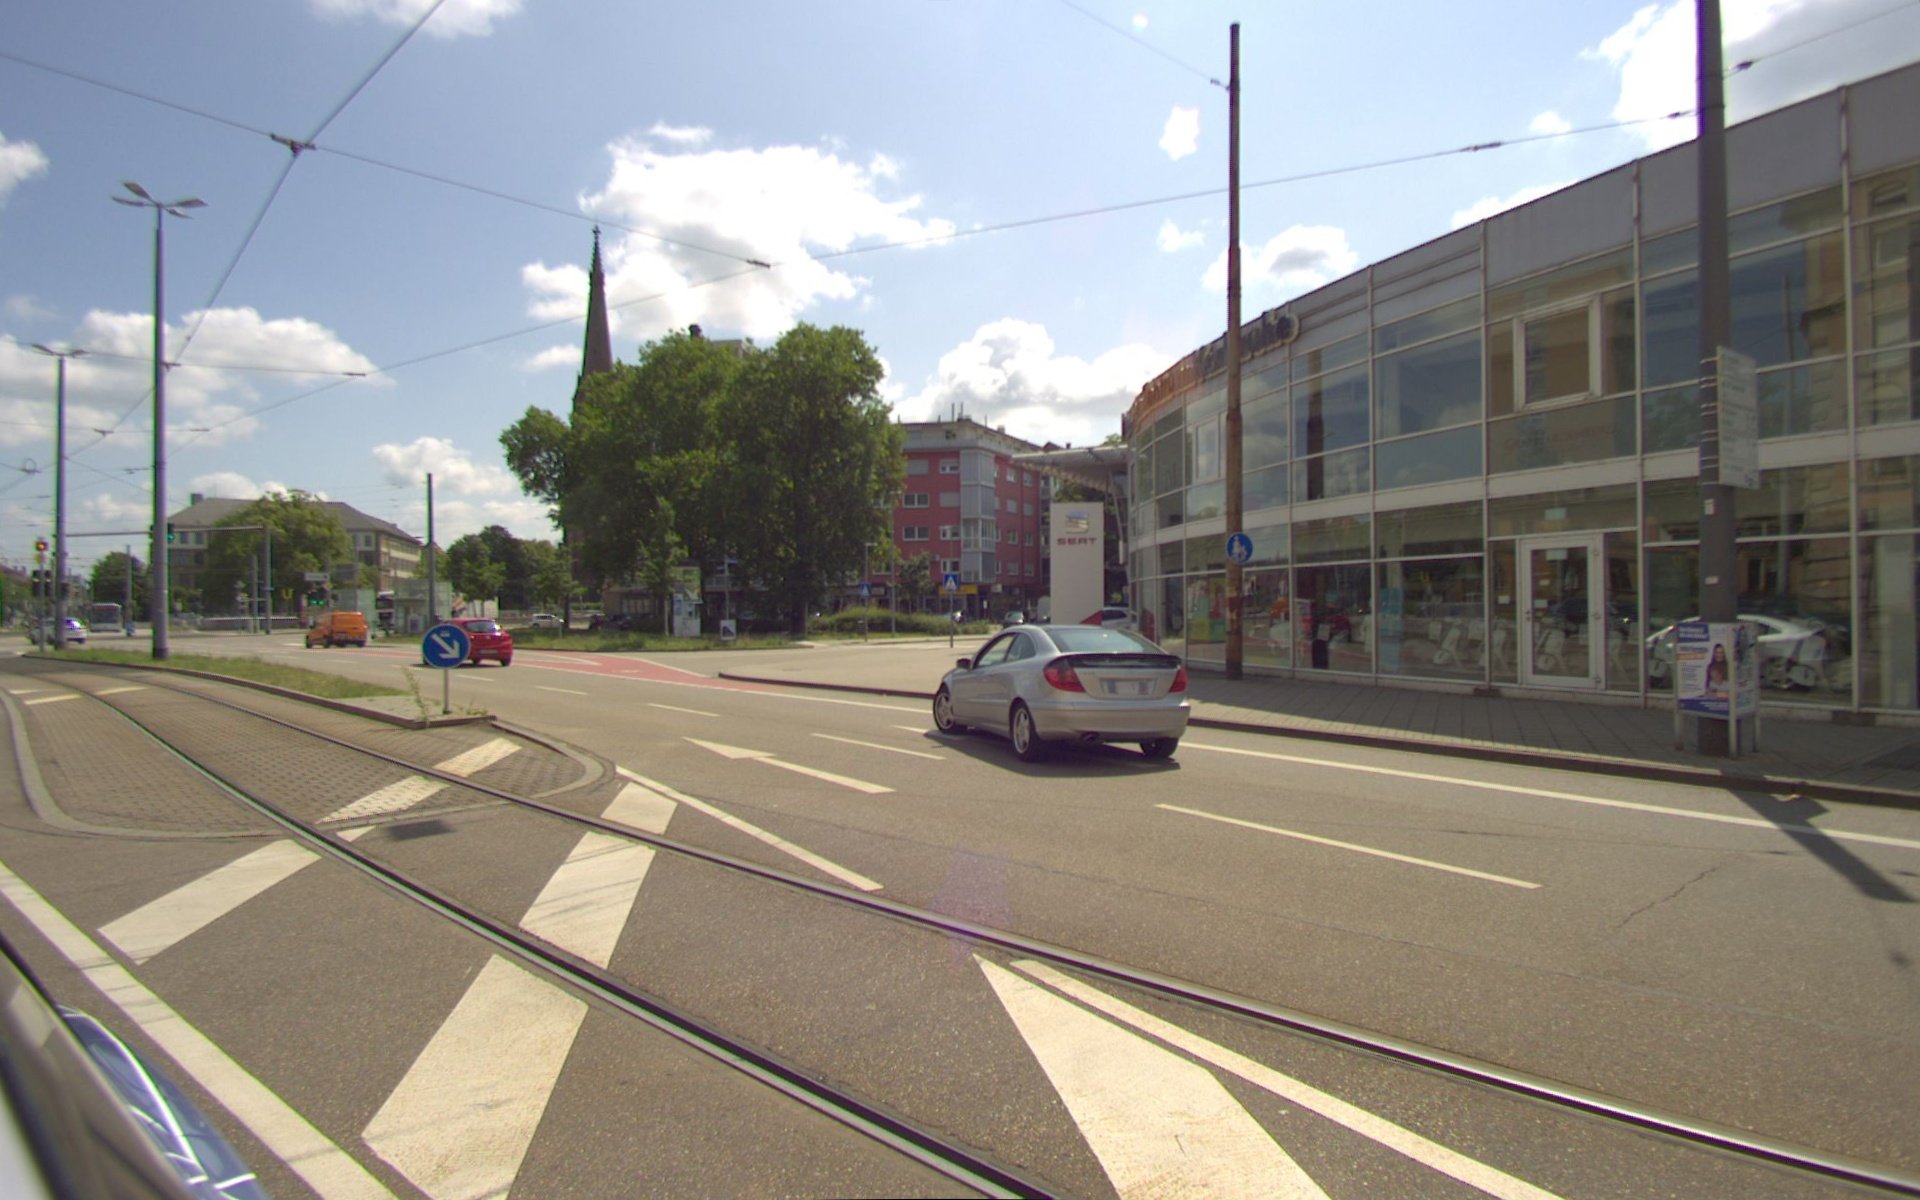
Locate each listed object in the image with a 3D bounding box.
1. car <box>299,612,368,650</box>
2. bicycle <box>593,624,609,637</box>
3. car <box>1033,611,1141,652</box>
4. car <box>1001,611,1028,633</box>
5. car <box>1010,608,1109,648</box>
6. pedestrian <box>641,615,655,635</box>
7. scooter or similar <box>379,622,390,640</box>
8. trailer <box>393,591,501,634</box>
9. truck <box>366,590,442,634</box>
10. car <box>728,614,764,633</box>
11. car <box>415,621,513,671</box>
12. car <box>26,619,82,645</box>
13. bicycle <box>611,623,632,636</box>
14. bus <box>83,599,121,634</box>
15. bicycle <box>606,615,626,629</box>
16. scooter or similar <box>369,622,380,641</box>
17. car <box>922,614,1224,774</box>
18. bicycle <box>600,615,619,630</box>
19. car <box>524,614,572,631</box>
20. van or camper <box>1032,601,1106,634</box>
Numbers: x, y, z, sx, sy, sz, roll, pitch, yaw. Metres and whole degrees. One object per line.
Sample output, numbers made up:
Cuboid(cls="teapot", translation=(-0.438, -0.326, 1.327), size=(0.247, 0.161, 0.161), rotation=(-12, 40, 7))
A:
Cuboid(cls="car", translation=(-32.169, 1.578, 51.951), size=(4.366, 1.880, 1.890), rotation=(-2, -2, 42))
Cuboid(cls="bicycle", translation=(-33.185, 2.798, 93.529), size=(1.257, 1.154, 0.458), rotation=(-1, -1, 5))
Cuboid(cls="car", translation=(4.756, 1.178, 38.250), size=(3.895, 1.458, 1.833), rotation=(-1, -1, 3))
Cuboid(cls="car", translation=(4.438, 1.761, 81.732), size=(1.976, 1.719, 3.992), rotation=(-1, -1, 6))
Cuboid(cls="car", translation=(4.097, 1.162, 41.429), size=(3.753, 1.485, 1.652), rotation=(-3, -2, 16))
Cuboid(cls="pedestrian", translation=(-25.110, 2.034, 81.457), size=(0.872, 1.572, 0.720), rotation=(-2, -1, 16))
Cuboid(cls="scooter or similar", translation=(-36.742, 1.994, 64.644), size=(0.556, 1.133, 0.411), rotation=(-2, -1, 38))
Cuboid(cls="trailer", translation=(-52.578, 1.299, 104.404), size=(2.914, 4.107, 13.386), rotation=(-1, -1, 8))
Cuboid(cls="truck", translation=(-53.494, 1.170, 97.608), size=(2.929, 4.150, 6.861), rotation=(-1, -1, 8))
Cuboid(cls="car", translation=(-17.869, 1.985, 84.778), size=(1.857, 1.522, 3.924), rotation=(-1, -1, 6))
Cuboid(cls="car", translation=(-15.327, 1.383, 31.202), size=(1.681, 1.439, 3.906), rotation=(2, -3, -42))
Cuboid(cls="car", translation=(-57.432, 2.008, 64.132), size=(4.485, 1.616, 1.750), rotation=(-1, -2, 37))
Cuboid(cls="bicycle", translation=(-28.055, 2.460, 83.848), size=(1.584, 1.074, 0.492), rotation=(-1, -1, 9))
Cuboid(cls="bus", translation=(-89.031, 1.704, 105.040), size=(2.905, 3.474, 7.960), rotation=(0, -1, -40))
Cuboid(cls="bicycle", translation=(-29.656, 1.896, 87.263), size=(1.584, 1.176, 0.492), rotation=(-1, -1, 9))
Cuboid(cls="scooter or similar", translation=(-37.015, 1.971, 63.951), size=(0.549, 1.209, 0.457), rotation=(-2, -1, 38))
Cuboid(cls="car", translation=(1.020, 0.895, 11.472), size=(1.789, 1.431, 4.200), rotation=(0, -1, -18))
Cuboid(cls="bicycle", translation=(-31.467, 2.040, 90.937), size=(1.584, 1.274, 0.492), rotation=(-1, -1, 9))
Cuboid(cls="car", translation=(-40.094, 2.188, 98.449), size=(4.102, 1.655, 1.634), rotation=(0, -1, -33))
Cuboid(cls="van or camper", translation=(8.604, 1.380, 80.875), size=(2.535, 2.518, 6.703), rotation=(0, -1, -28))
